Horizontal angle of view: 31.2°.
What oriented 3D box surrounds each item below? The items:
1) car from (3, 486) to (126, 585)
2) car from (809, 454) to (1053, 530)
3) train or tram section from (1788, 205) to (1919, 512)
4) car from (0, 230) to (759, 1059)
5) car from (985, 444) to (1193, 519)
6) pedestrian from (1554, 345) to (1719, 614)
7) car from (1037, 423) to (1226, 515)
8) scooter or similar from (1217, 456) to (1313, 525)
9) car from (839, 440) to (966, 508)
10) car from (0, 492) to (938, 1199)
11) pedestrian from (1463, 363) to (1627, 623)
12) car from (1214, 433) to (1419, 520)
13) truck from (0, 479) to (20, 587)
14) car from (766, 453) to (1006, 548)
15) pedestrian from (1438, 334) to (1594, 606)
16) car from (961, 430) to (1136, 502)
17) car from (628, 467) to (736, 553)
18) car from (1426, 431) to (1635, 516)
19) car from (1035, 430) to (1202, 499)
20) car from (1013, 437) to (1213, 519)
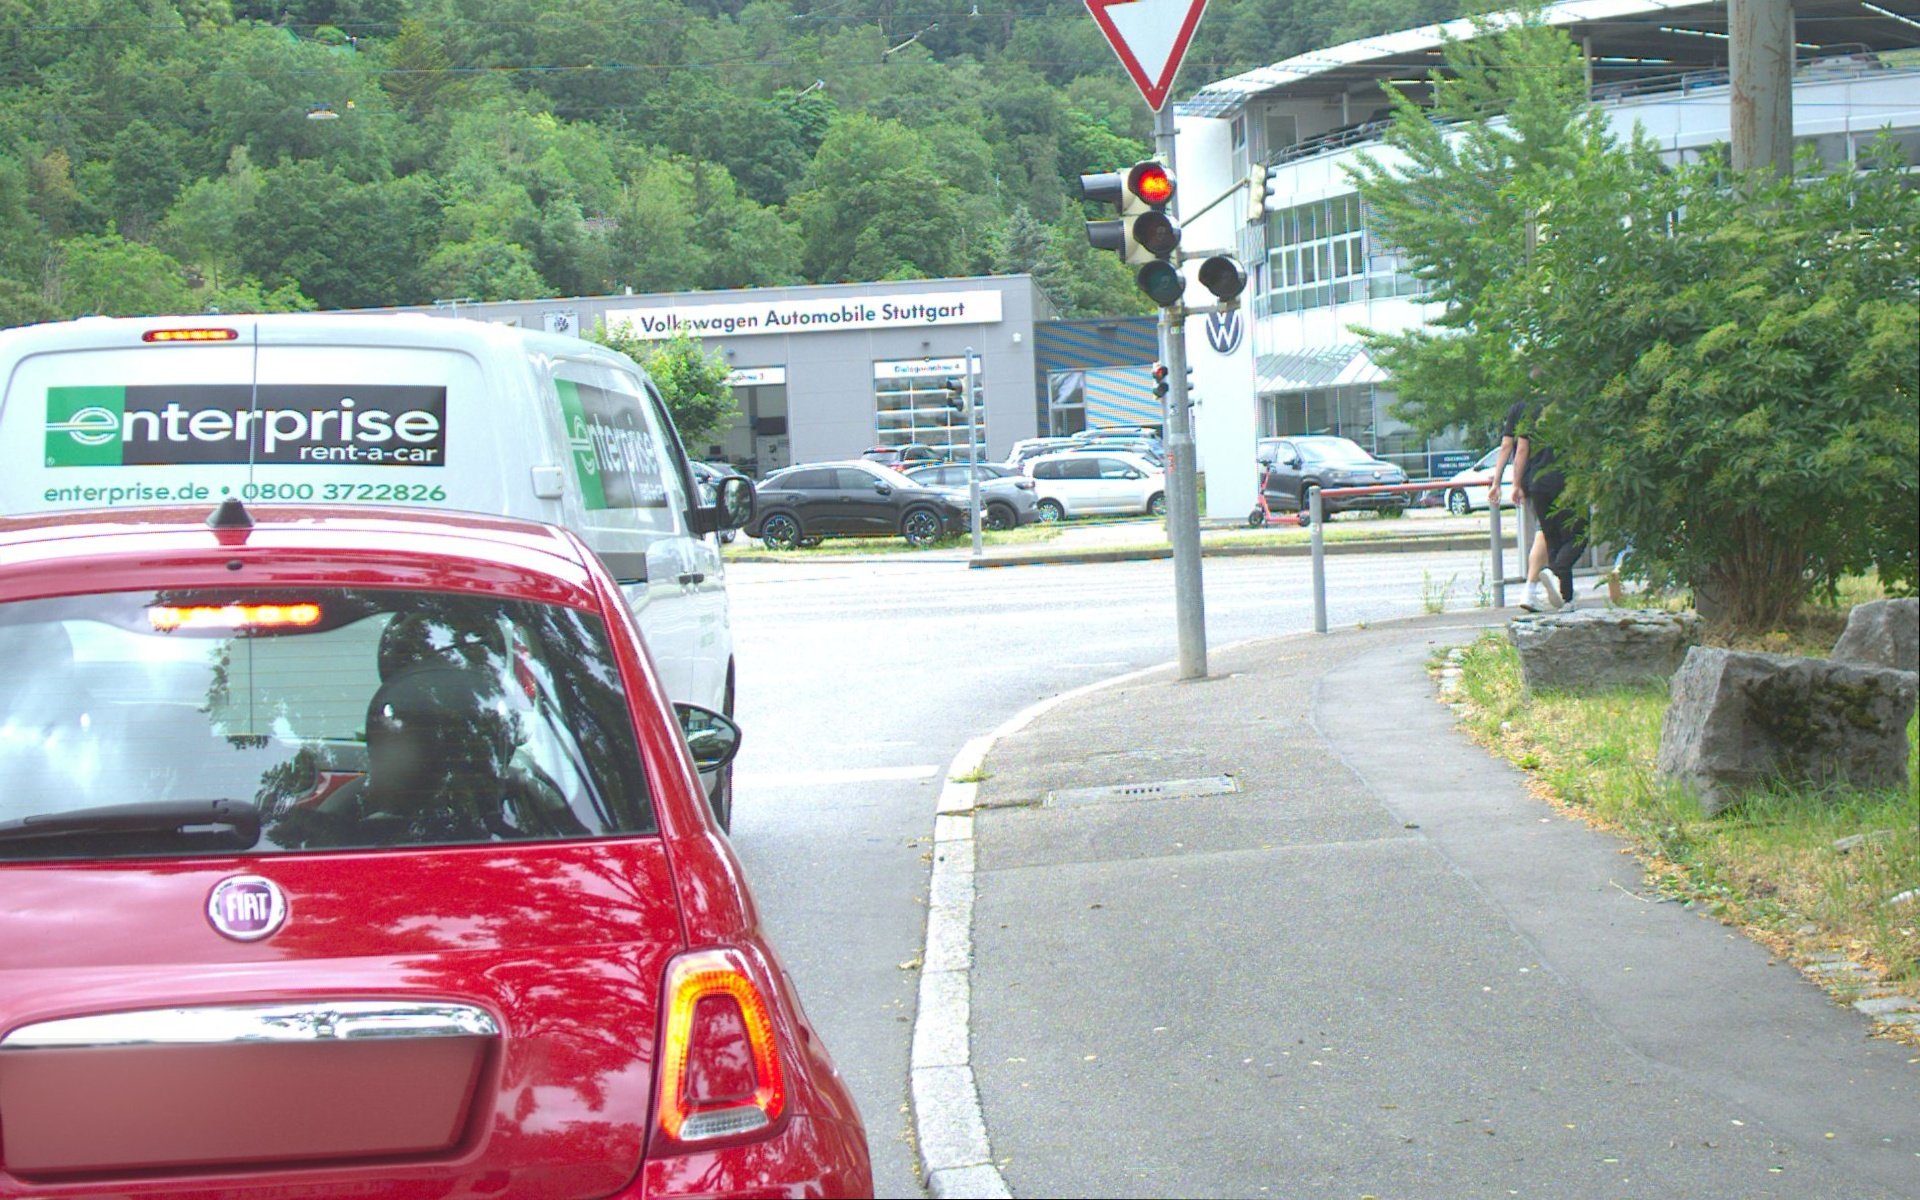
[{"bbox_3d":[-17.776,-1.314,68.405,1.859,1.811,4.404,-3,2,-9],"label":"car"},{"bbox_3d":[-0.584,-2.220,70.617,4.674,1.323,1.775,-2,2,14],"label":"car"},{"bbox_3d":[19.984,-3.444,45.646,19.108,3.653,3.279,-3,2,-22],"label":"train or tram section"},{"bbox_3d":[-1.913,0.038,11.408,1.989,2.099,4.762,-3,2,2],"label":"car"},{"bbox_3d":[3.037,-2.806,81.065,4.796,1.528,1.776,-2,2,3],"label":"car"},{"bbox_3d":[4.491,-0.802,22.809,0.695,1.733,0.786,-1,3,43],"label":"pedestrian"},{"bbox_3d":[4.469,-3.417,89.753,4.796,2.149,2.234,-2,2,3],"label":"car"},{"bbox_3d":[5.526,-1.981,62.297,1.668,1.173,0.467,-2,2,7],"label":"scooter or similar"},{"bbox_3d":[-1.638,-3.661,99.554,1.996,1.809,3.995,-1,3,27],"label":"car"},{"bbox_3d":[-1.169,0.582,5.538,1.638,1.451,3.432,-2,2,-11],"label":"car"},{"bbox_3d":[3.963,-0.725,23.293,0.695,1.708,0.786,-1,3,45],"label":"pedestrian"},{"bbox_3d":[6.714,-2.332,65.136,1.770,1.495,3.881,-4,3,-33],"label":"car"},{"bbox_3d":[-23.714,-1.361,76.051,5.183,2.385,2.000,-4,3,-28],"label":"truck"},{"bbox_3d":[-1.311,-1.779,61.381,3.871,1.495,1.774,-2,2,17],"label":"car"},{"bbox_3d":[3.891,-0.910,24.037,0.695,1.850,0.787,-1,3,40],"label":"pedestrian"},{"bbox_3d":[2.489,-3.748,96.202,4.796,1.796,1.776,-2,2,3],"label":"car"},{"bbox_3d":[-6.349,-2.096,78.833,1.993,1.809,4.000,-3,2,1],"label":"car"},{"bbox_3d":[11.049,-2.438,66.846,1.770,1.495,4.022,-4,3,-31],"label":"car"},{"bbox_3d":[4.658,-3.988,100.985,4.796,1.796,1.776,-2,2,3],"label":"car"},{"bbox_3d":[3.762,-3.011,84.607,4.796,1.796,1.776,-2,2,3],"label":"car"}]
